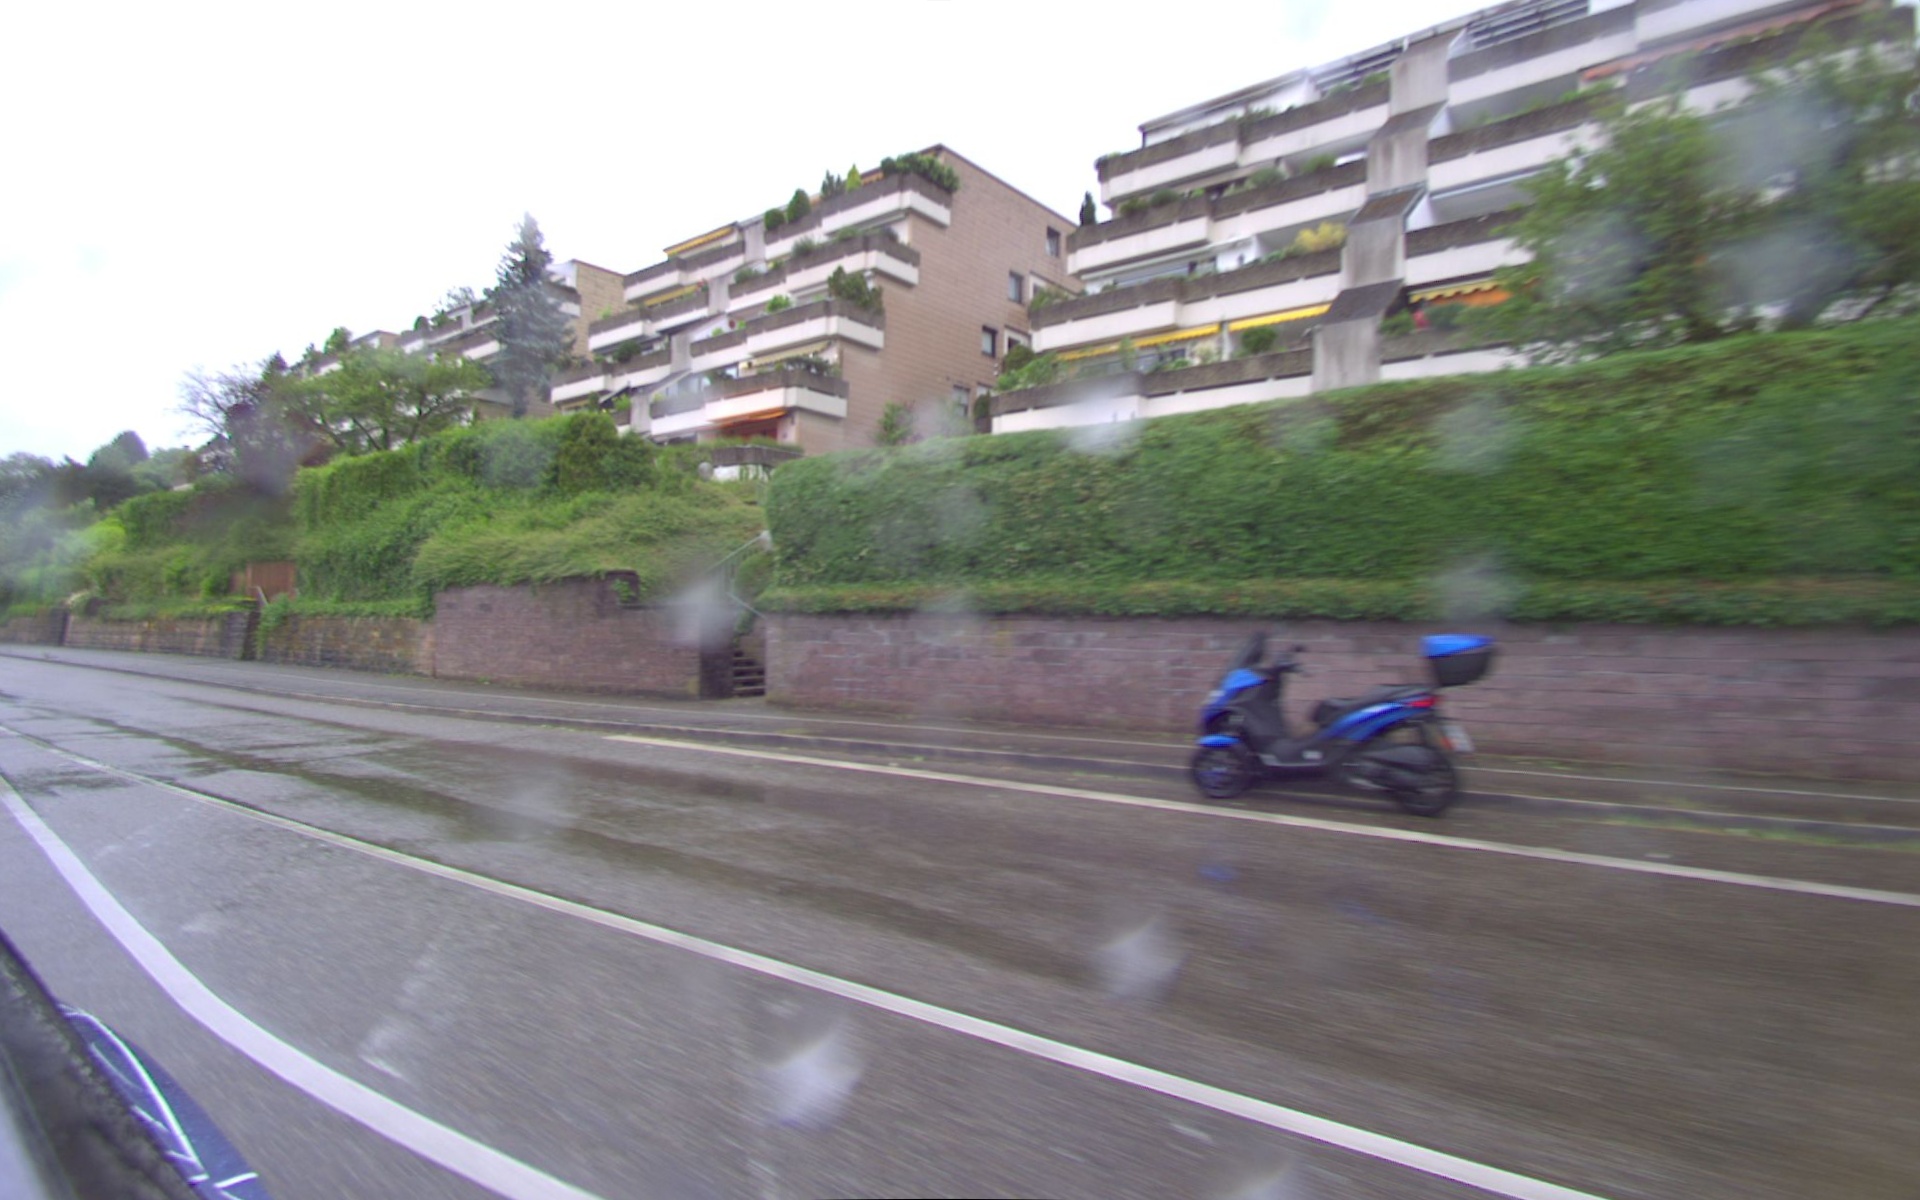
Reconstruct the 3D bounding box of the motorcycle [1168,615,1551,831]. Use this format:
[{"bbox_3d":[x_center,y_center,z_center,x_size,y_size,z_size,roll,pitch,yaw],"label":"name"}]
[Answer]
[{"bbox_3d":[2.849,0.790,7.395,2.492,1.351,0.830,-1,-2,34],"label":"motorcycle"}]
